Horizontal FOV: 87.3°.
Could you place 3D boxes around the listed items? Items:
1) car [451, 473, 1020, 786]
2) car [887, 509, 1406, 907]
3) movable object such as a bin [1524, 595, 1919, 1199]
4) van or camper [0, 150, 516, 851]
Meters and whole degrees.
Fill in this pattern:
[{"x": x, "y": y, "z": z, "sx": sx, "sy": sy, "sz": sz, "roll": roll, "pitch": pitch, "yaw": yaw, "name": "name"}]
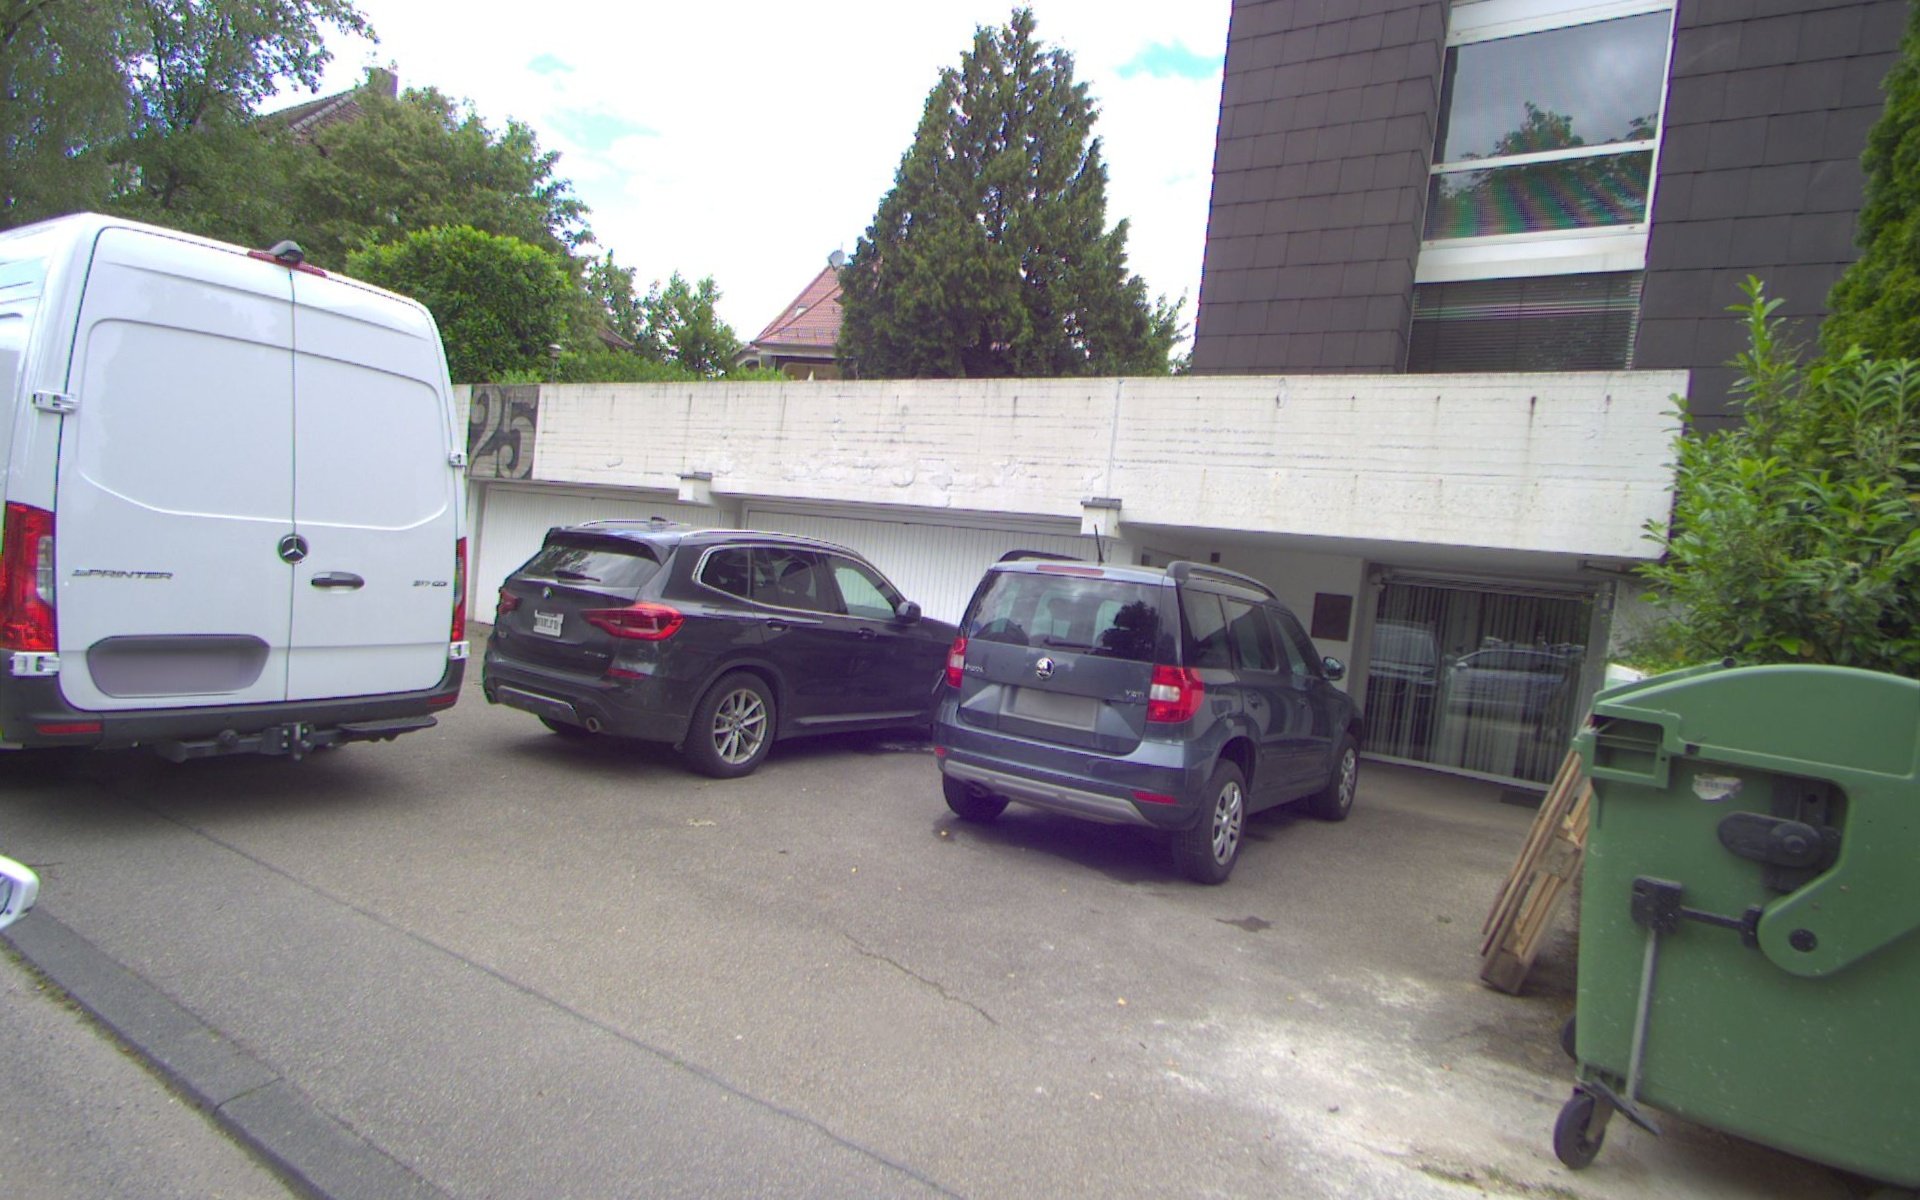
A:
[{"x": -1.427, "y": 0.241, "z": 8.110, "sx": 1.710, "sy": 1.772, "sz": 4.419, "roll": 7, "pitch": 1, "yaw": 33, "name": "car"}, {"x": 1.536, "y": 0.574, "z": 6.781, "sx": 1.804, "sy": 1.772, "sz": 3.973, "roll": 7, "pitch": 1, "yaw": 35, "name": "car"}, {"x": 2.290, "y": 0.835, "z": 2.823, "sx": 1.016, "sy": 1.550, "sz": 1.034, "roll": 7, "pitch": 1, "yaw": 33, "name": "movable object such as a bin"}, {"x": -5.771, "y": -0.614, "z": 6.332, "sx": 6.432, "sy": 2.653, "sz": 1.995, "roll": 7, "pitch": 1, "yaw": 32, "name": "van or camper"}]
